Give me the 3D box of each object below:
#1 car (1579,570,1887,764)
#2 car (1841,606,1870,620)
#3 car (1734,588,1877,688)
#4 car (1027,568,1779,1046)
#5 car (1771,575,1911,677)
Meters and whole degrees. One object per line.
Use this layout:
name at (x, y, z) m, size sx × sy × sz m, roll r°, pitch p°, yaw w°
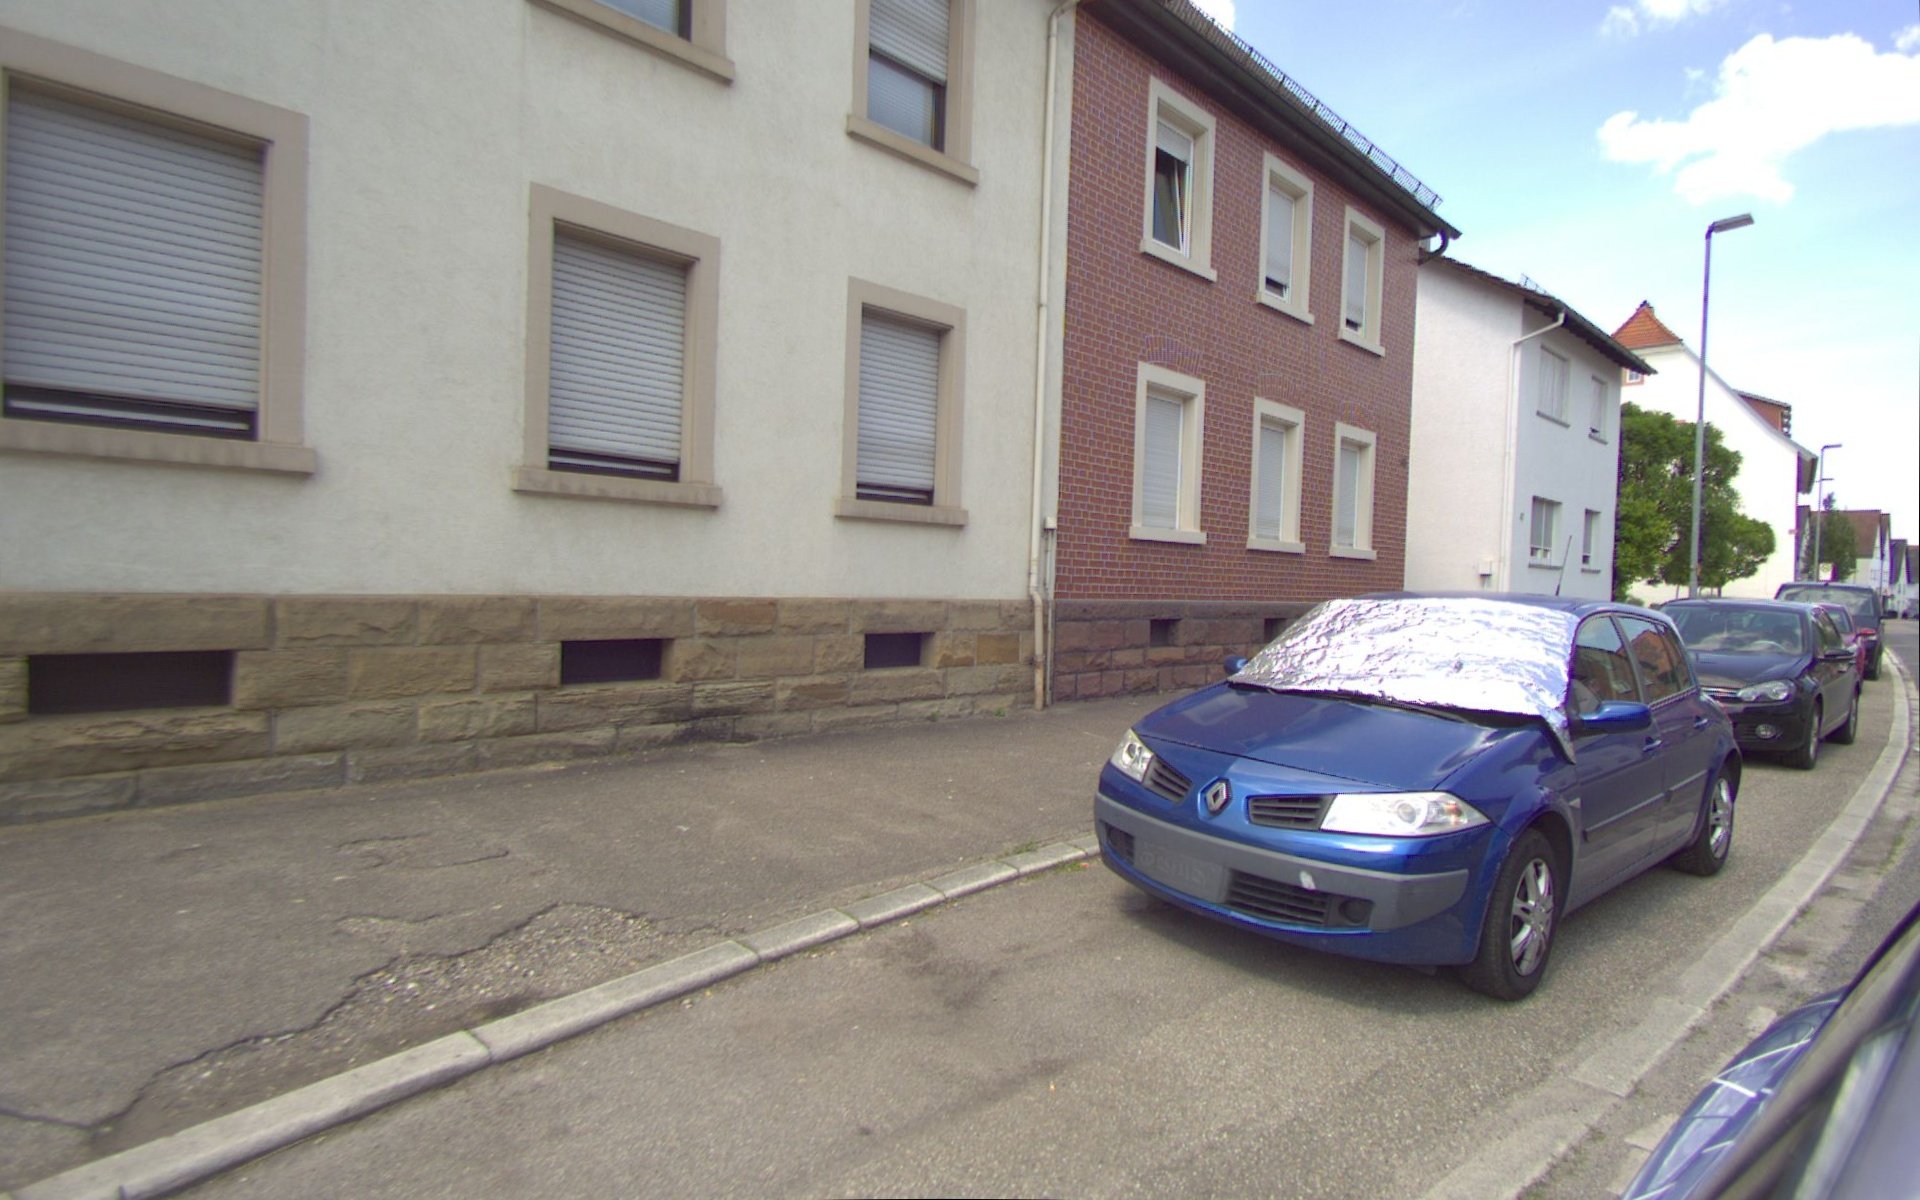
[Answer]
car at (7.906, 0.605, 10.216) m, size 3.931 × 1.549 × 1.771 m, roll 3°, pitch 0°, yaw -42°
car at (92.411, 1.314, 104.435) m, size 1.994 × 1.369 × 3.936 m, roll 1°, pitch 2°, yaw 45°
car at (15.240, 0.596, 18.148) m, size 1.739 × 1.522 × 4.488 m, roll 3°, pitch 2°, yaw 42°
car at (2.359, 0.572, 4.935) m, size 3.928 × 1.402 × 1.727 m, roll -1°, pitch 3°, yaw -39°
car at (18.886, 0.434, 21.607) m, size 1.926 × 1.939 × 5.162 m, roll 1°, pitch 1°, yaw 45°
